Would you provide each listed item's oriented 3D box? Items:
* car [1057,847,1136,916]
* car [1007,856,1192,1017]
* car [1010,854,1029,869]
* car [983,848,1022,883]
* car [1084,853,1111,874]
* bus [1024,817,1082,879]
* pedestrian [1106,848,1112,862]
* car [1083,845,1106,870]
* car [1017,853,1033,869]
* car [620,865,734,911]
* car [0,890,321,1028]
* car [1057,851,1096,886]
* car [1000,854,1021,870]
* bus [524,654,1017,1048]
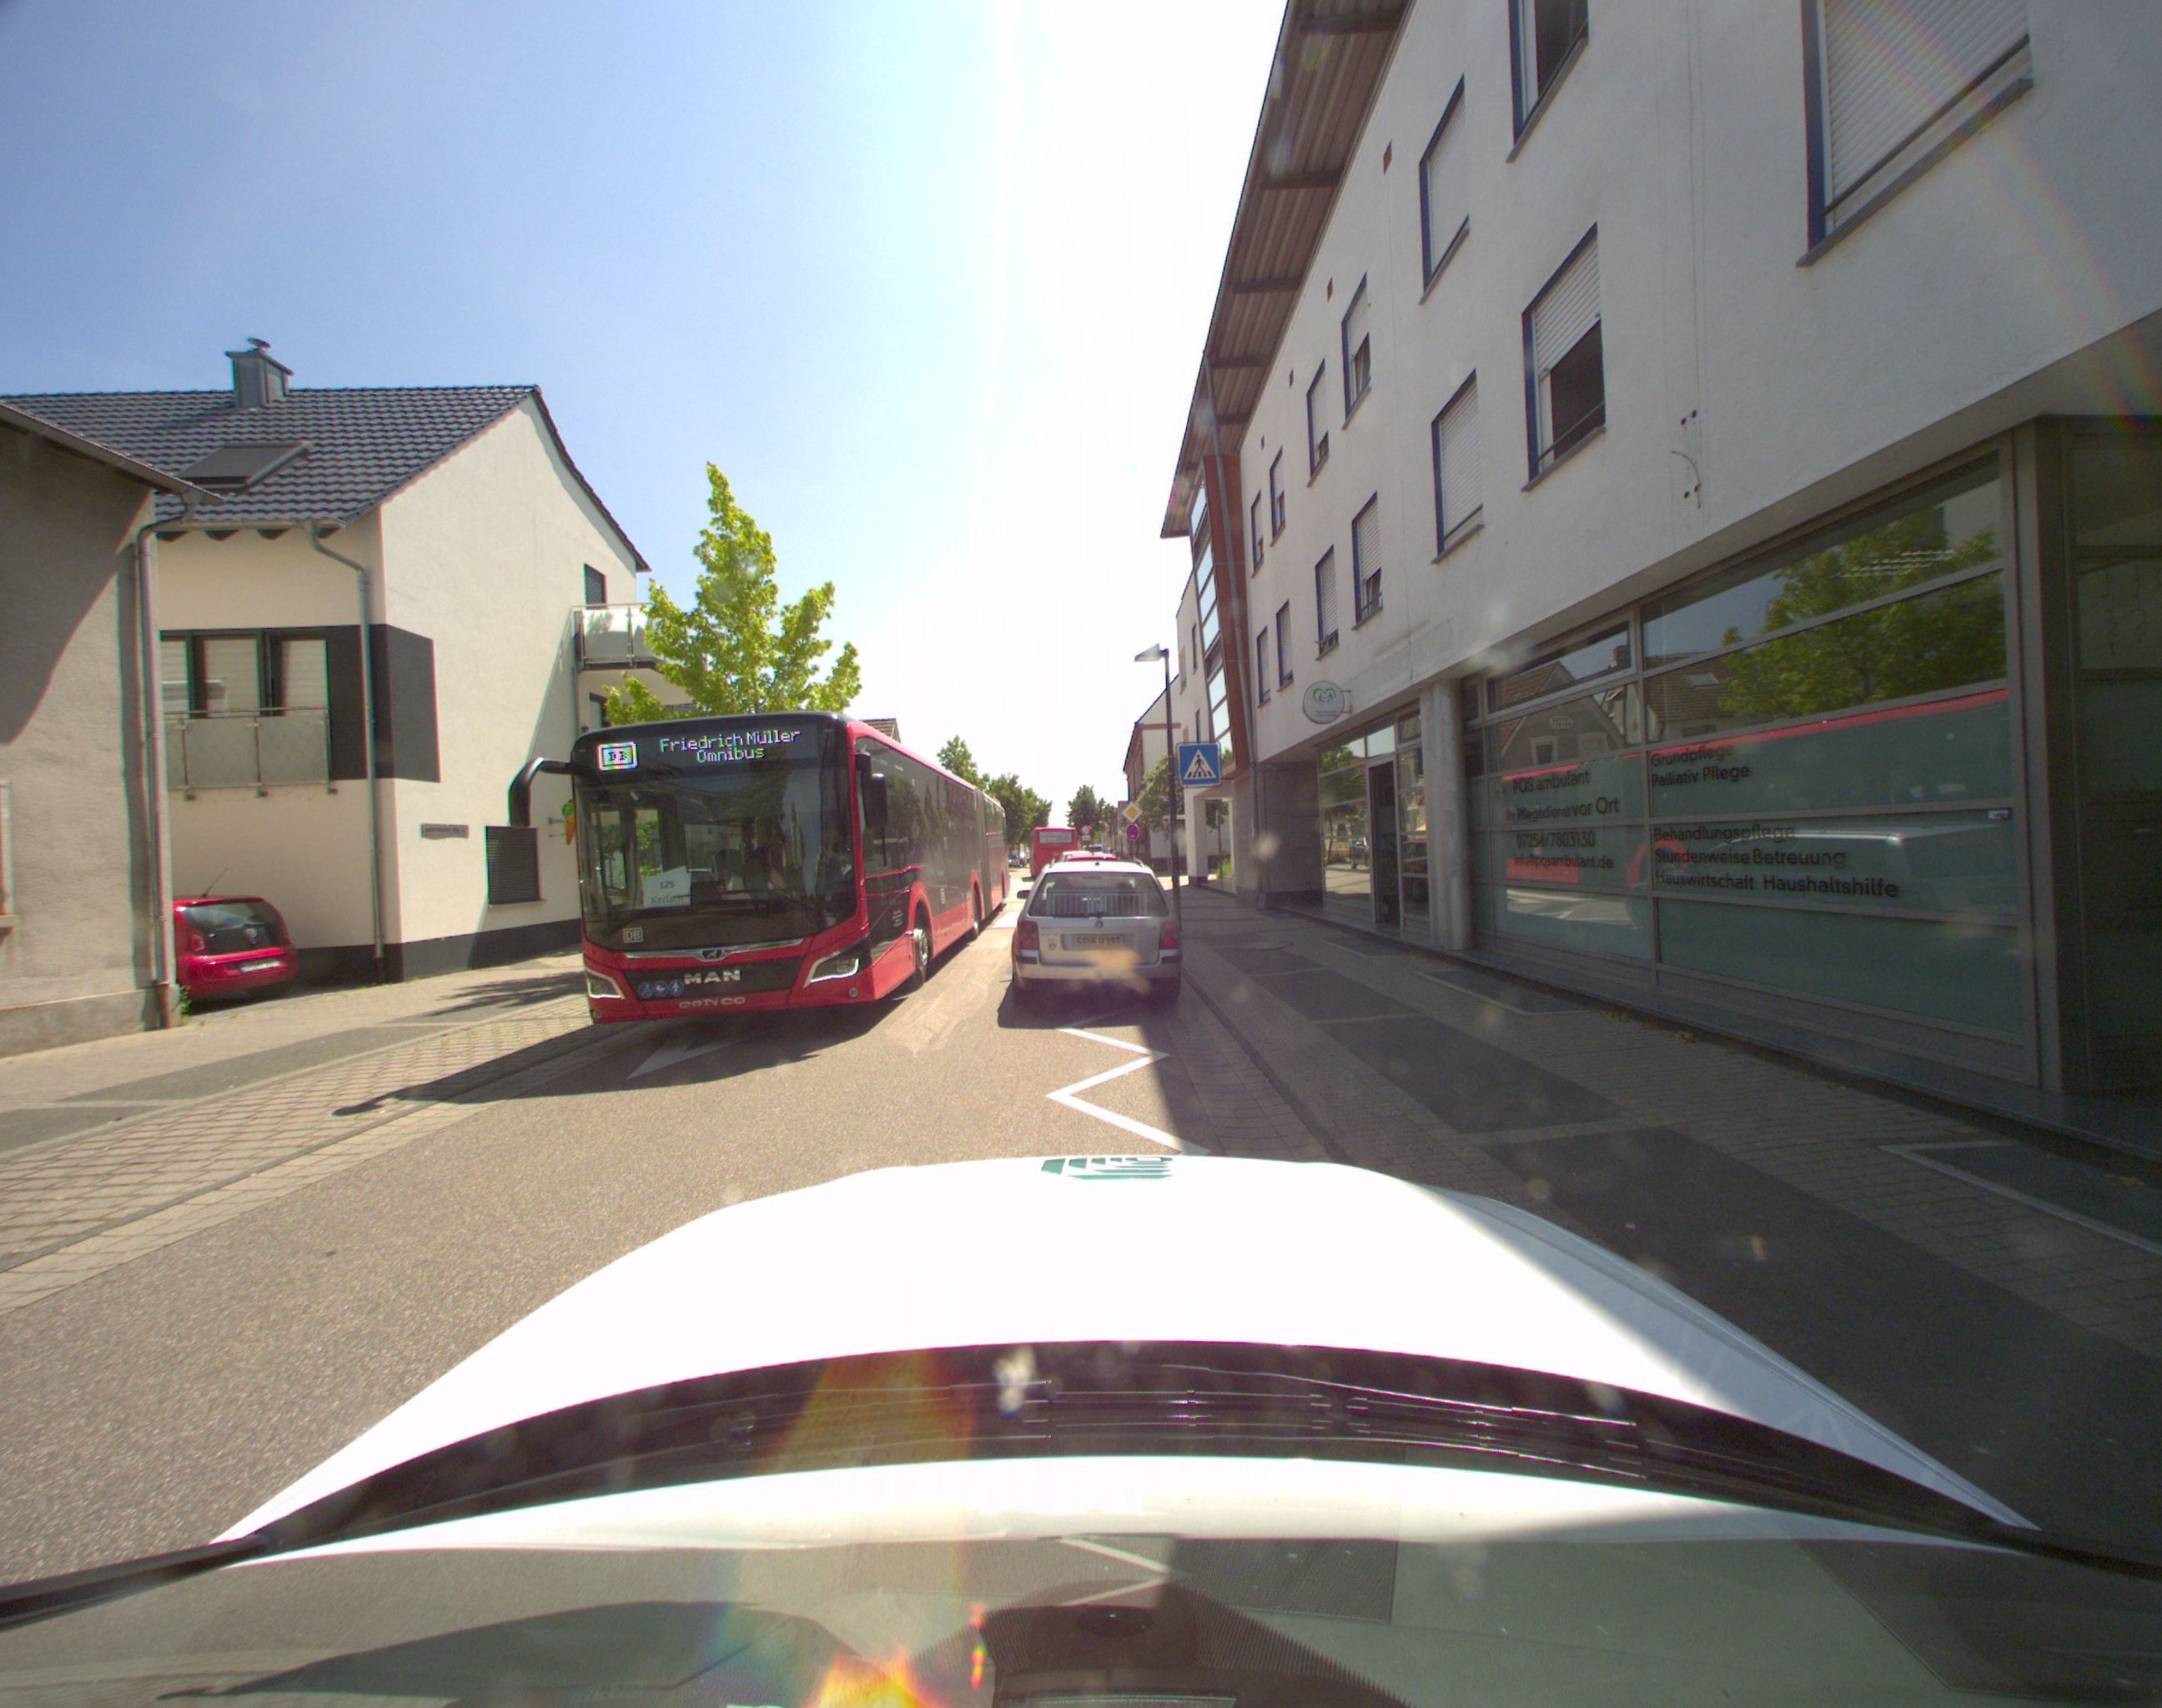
[{"bbox_3d":[0.337,0.597,19.690,1.672,1.430,3.678,-3,0,0],"label":"car"},{"bbox_3d":[0.167,0.756,9.282,1.672,1.430,3.678,-1,0,0],"label":"car"},{"bbox_3d":[-7.098,0.833,93.890,1.806,1.559,3.999,-3,0,-1],"label":"car"},{"bbox_3d":[-4.144,0.578,43.523,1.670,1.716,4.230,-3,0,-1],"label":"car"},{"bbox_3d":[1.083,0.648,56.182,1.714,1.309,3.624,-3,0,-1],"label":"car"},{"bbox_3d":[-1.964,-0.304,51.202,2.736,3.298,12.679,-2,0,-6],"label":"bus"},{"bbox_3d":[3.523,0.097,101.231,0.604,1.667,0.789,-3,0,-2],"label":"pedestrian"},{"bbox_3d":[1.179,0.305,71.485,1.782,2.082,3.624,-3,0,-1],"label":"car"},{"bbox_3d":[-7.259,0.904,106.391,1.806,1.995,3.999,-3,0,-1],"label":"car"},{"bbox_3d":[-16.630,1.372,33.715,3.926,1.545,1.509,-3,2,-17],"label":"car"},{"bbox_3d":[-12.179,1.303,10.470,3.110,1.443,1.584,-3,0,-6],"label":"car"},{"bbox_3d":[-0.155,0.589,35.624,1.588,1.430,3.680,-1,0,1],"label":"car"},{"bbox_3d":[-7.519,0.819,87.150,1.806,1.559,3.999,-3,0,-1],"label":"car"},{"bbox_3d":[-3.252,-0.050,15.618,2.661,3.123,17.800,-3,0,-1],"label":"bus"}]
